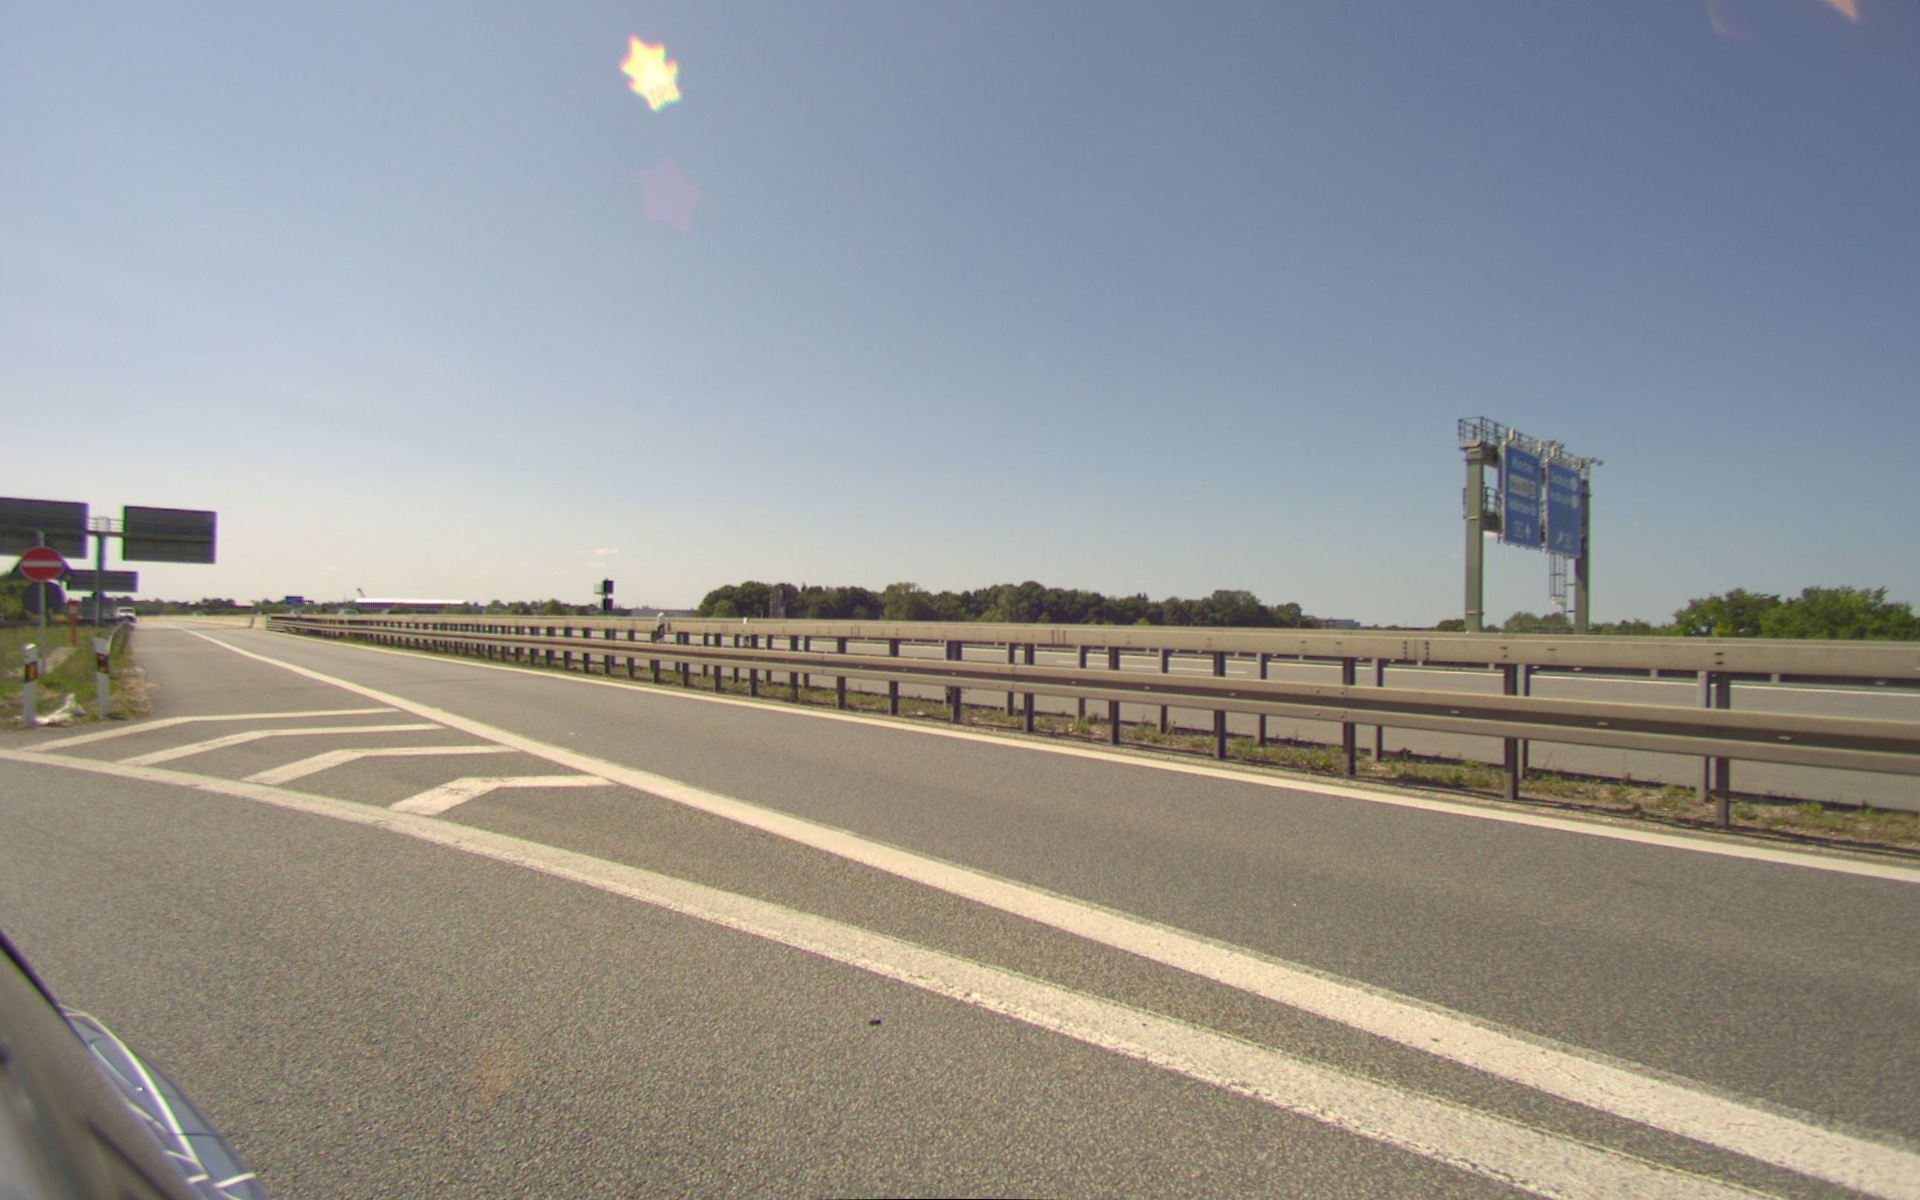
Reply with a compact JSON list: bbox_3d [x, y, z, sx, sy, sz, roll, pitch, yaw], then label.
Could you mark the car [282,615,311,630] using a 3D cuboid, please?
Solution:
[{"bbox_3d":[-67.365,2.227,102.717,1.808,1.443,4.222,1,0,-42],"label":"car"}]
